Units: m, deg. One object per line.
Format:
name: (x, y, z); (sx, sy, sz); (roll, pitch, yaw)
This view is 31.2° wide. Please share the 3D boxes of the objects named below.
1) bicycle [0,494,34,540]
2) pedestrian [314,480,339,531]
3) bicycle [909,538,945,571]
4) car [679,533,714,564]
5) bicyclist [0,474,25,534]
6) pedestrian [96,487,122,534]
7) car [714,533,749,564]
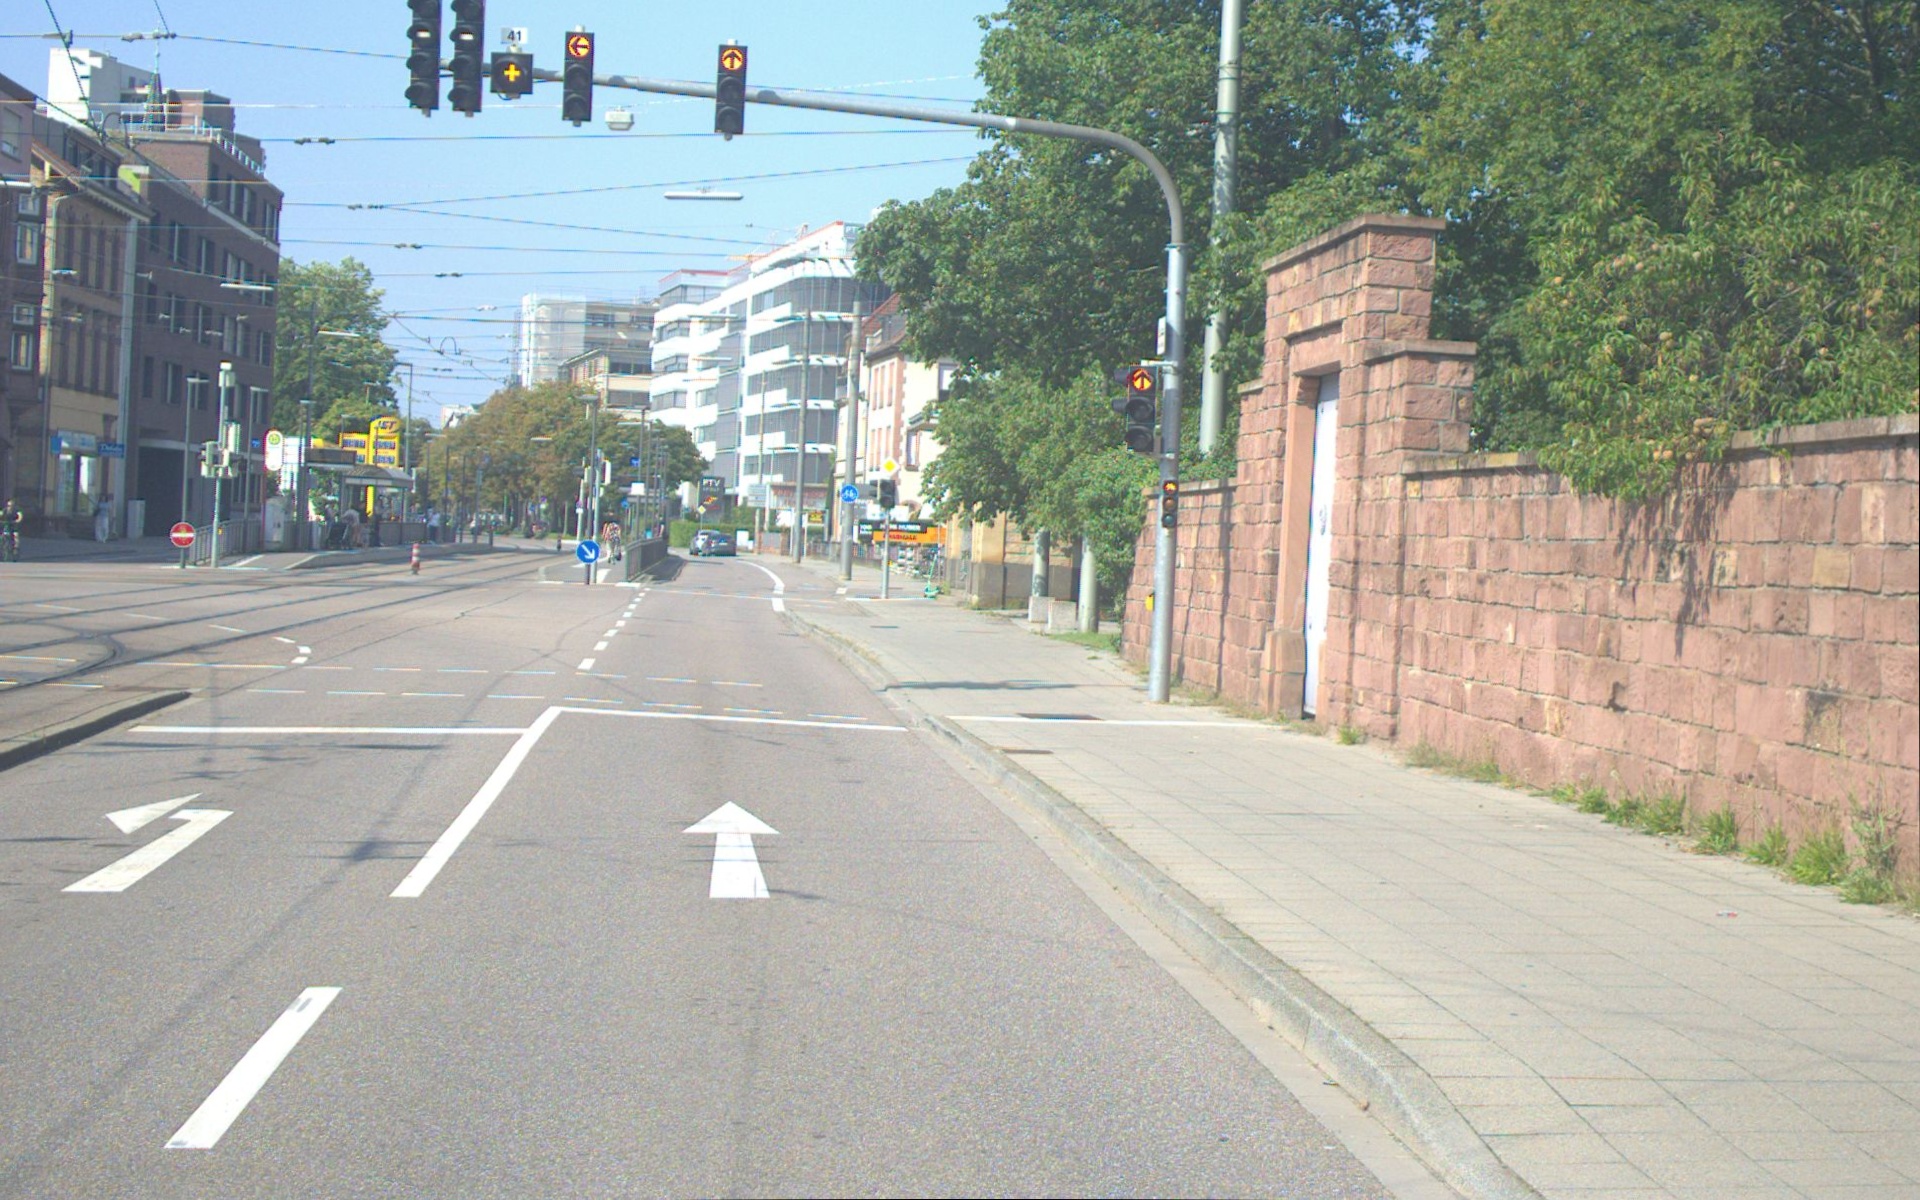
bicycle: (-24.496, -2.154, 88.899); (0.575, 1.175, 2.208); (1, 1, -2)
pedestrian: (-21.503, -3.206, 116.667); (0.708, 1.717, 0.799); (1, 1, -3)
bicycle: (-1.149, -1.590, 119.672); (0.731, 1.129, 2.841); (-1, 1, -11)
car: (-16.401, -3.227, 214.346); (2.011, 1.852, 4.001); (1, 1, -3)
bicyclist: (-24.487, -2.474, 88.742); (0.568, 1.518, 0.490); (1, 1, -2)
pedestrian: (-29.510, -3.110, 119.267); (0.483, 1.554, 0.887); (4, 0, 7)
car: (-13.875, -3.118, 208.507); (2.011, 1.852, 4.001); (1, 1, -3)
